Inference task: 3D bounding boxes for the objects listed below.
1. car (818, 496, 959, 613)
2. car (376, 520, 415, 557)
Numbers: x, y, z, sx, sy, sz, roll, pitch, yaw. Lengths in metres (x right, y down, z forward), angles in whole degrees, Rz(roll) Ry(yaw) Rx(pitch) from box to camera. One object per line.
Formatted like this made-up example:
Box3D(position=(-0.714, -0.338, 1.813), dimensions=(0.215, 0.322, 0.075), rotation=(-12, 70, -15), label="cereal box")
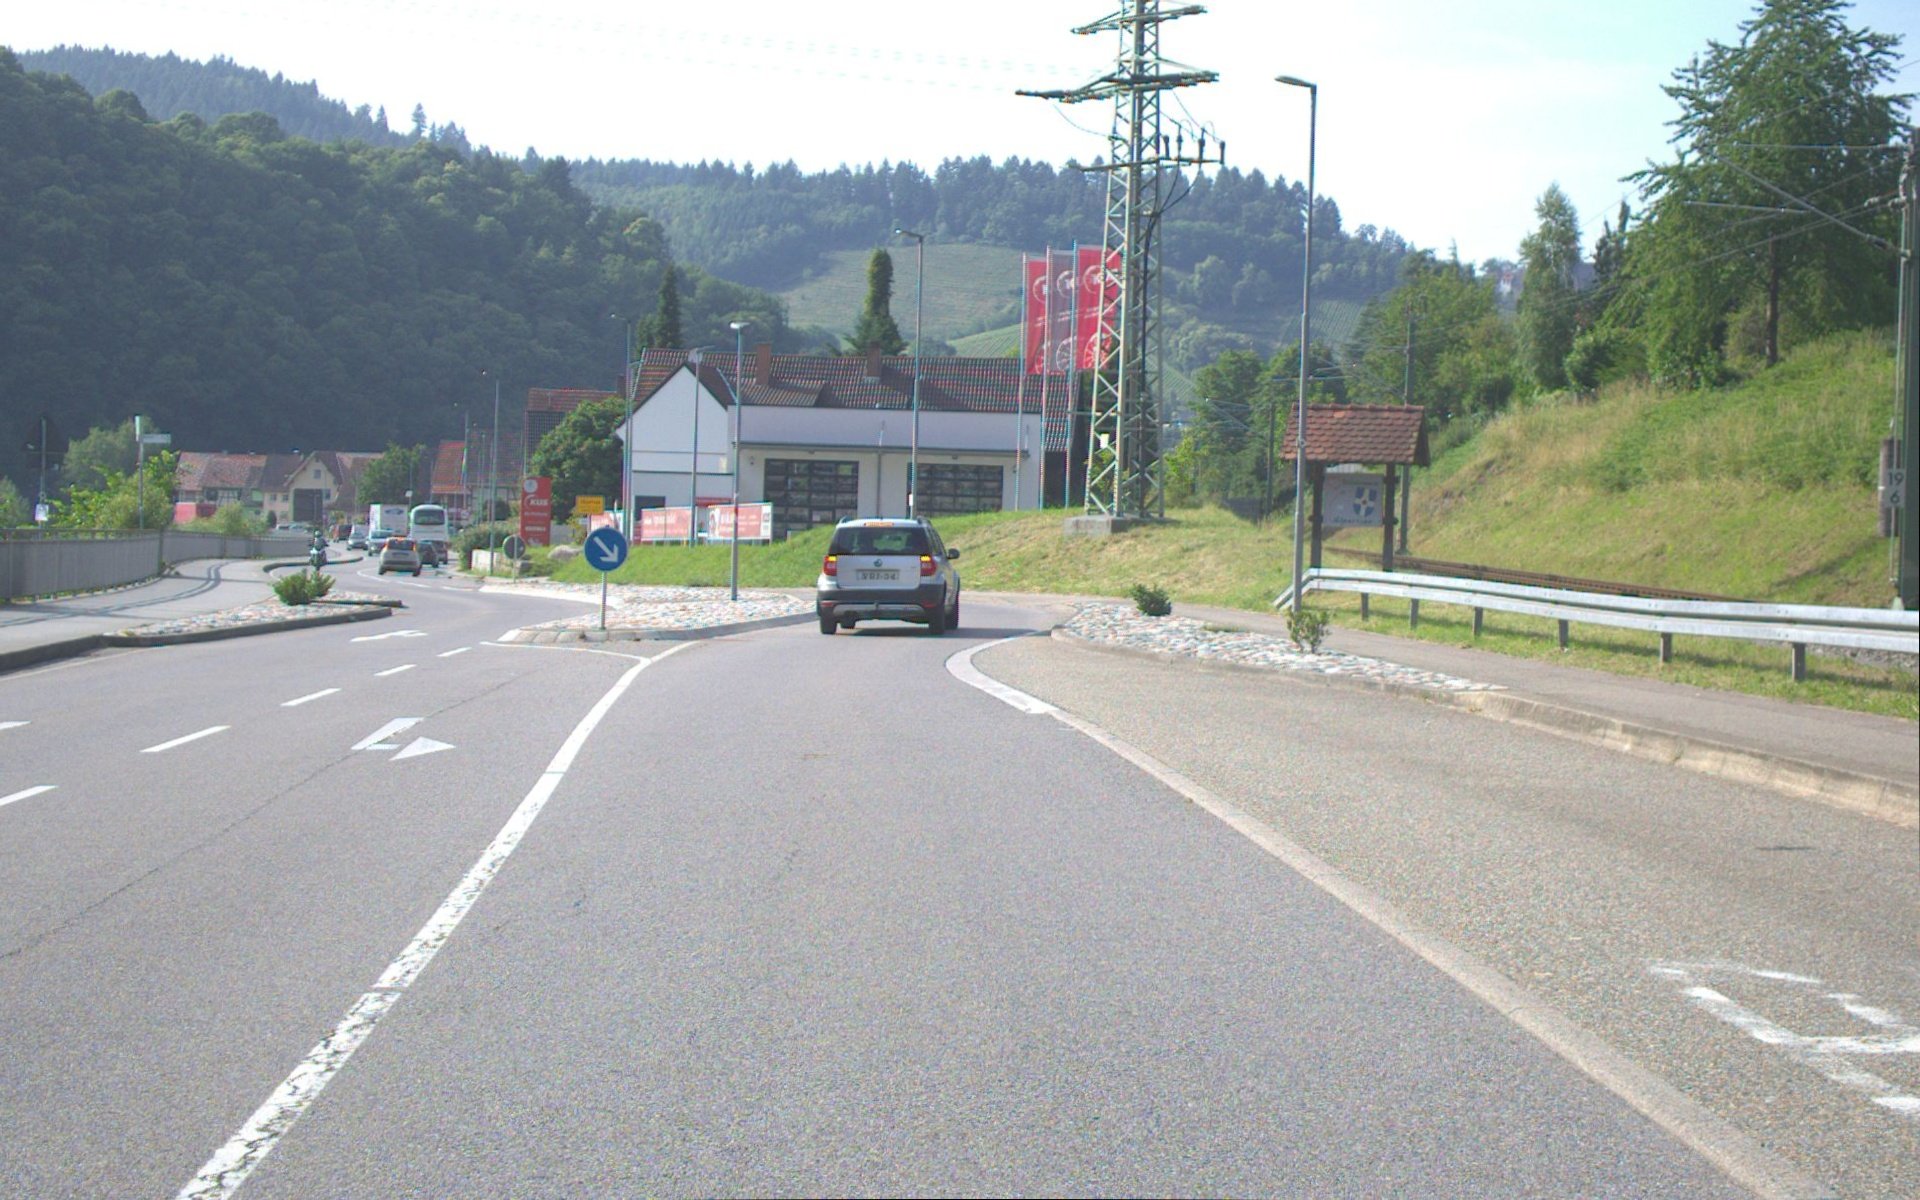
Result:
Box3D(position=(-1.079, -0.653, 49.575), dimensions=(1.861, 1.539, 4.374), rotation=(2, 1, -3), label="car")
Box3D(position=(-23.560, -2.570, 143.388), dimensions=(1.453, 1.430, 2.937), rotation=(2, 2, -11), label="car")
